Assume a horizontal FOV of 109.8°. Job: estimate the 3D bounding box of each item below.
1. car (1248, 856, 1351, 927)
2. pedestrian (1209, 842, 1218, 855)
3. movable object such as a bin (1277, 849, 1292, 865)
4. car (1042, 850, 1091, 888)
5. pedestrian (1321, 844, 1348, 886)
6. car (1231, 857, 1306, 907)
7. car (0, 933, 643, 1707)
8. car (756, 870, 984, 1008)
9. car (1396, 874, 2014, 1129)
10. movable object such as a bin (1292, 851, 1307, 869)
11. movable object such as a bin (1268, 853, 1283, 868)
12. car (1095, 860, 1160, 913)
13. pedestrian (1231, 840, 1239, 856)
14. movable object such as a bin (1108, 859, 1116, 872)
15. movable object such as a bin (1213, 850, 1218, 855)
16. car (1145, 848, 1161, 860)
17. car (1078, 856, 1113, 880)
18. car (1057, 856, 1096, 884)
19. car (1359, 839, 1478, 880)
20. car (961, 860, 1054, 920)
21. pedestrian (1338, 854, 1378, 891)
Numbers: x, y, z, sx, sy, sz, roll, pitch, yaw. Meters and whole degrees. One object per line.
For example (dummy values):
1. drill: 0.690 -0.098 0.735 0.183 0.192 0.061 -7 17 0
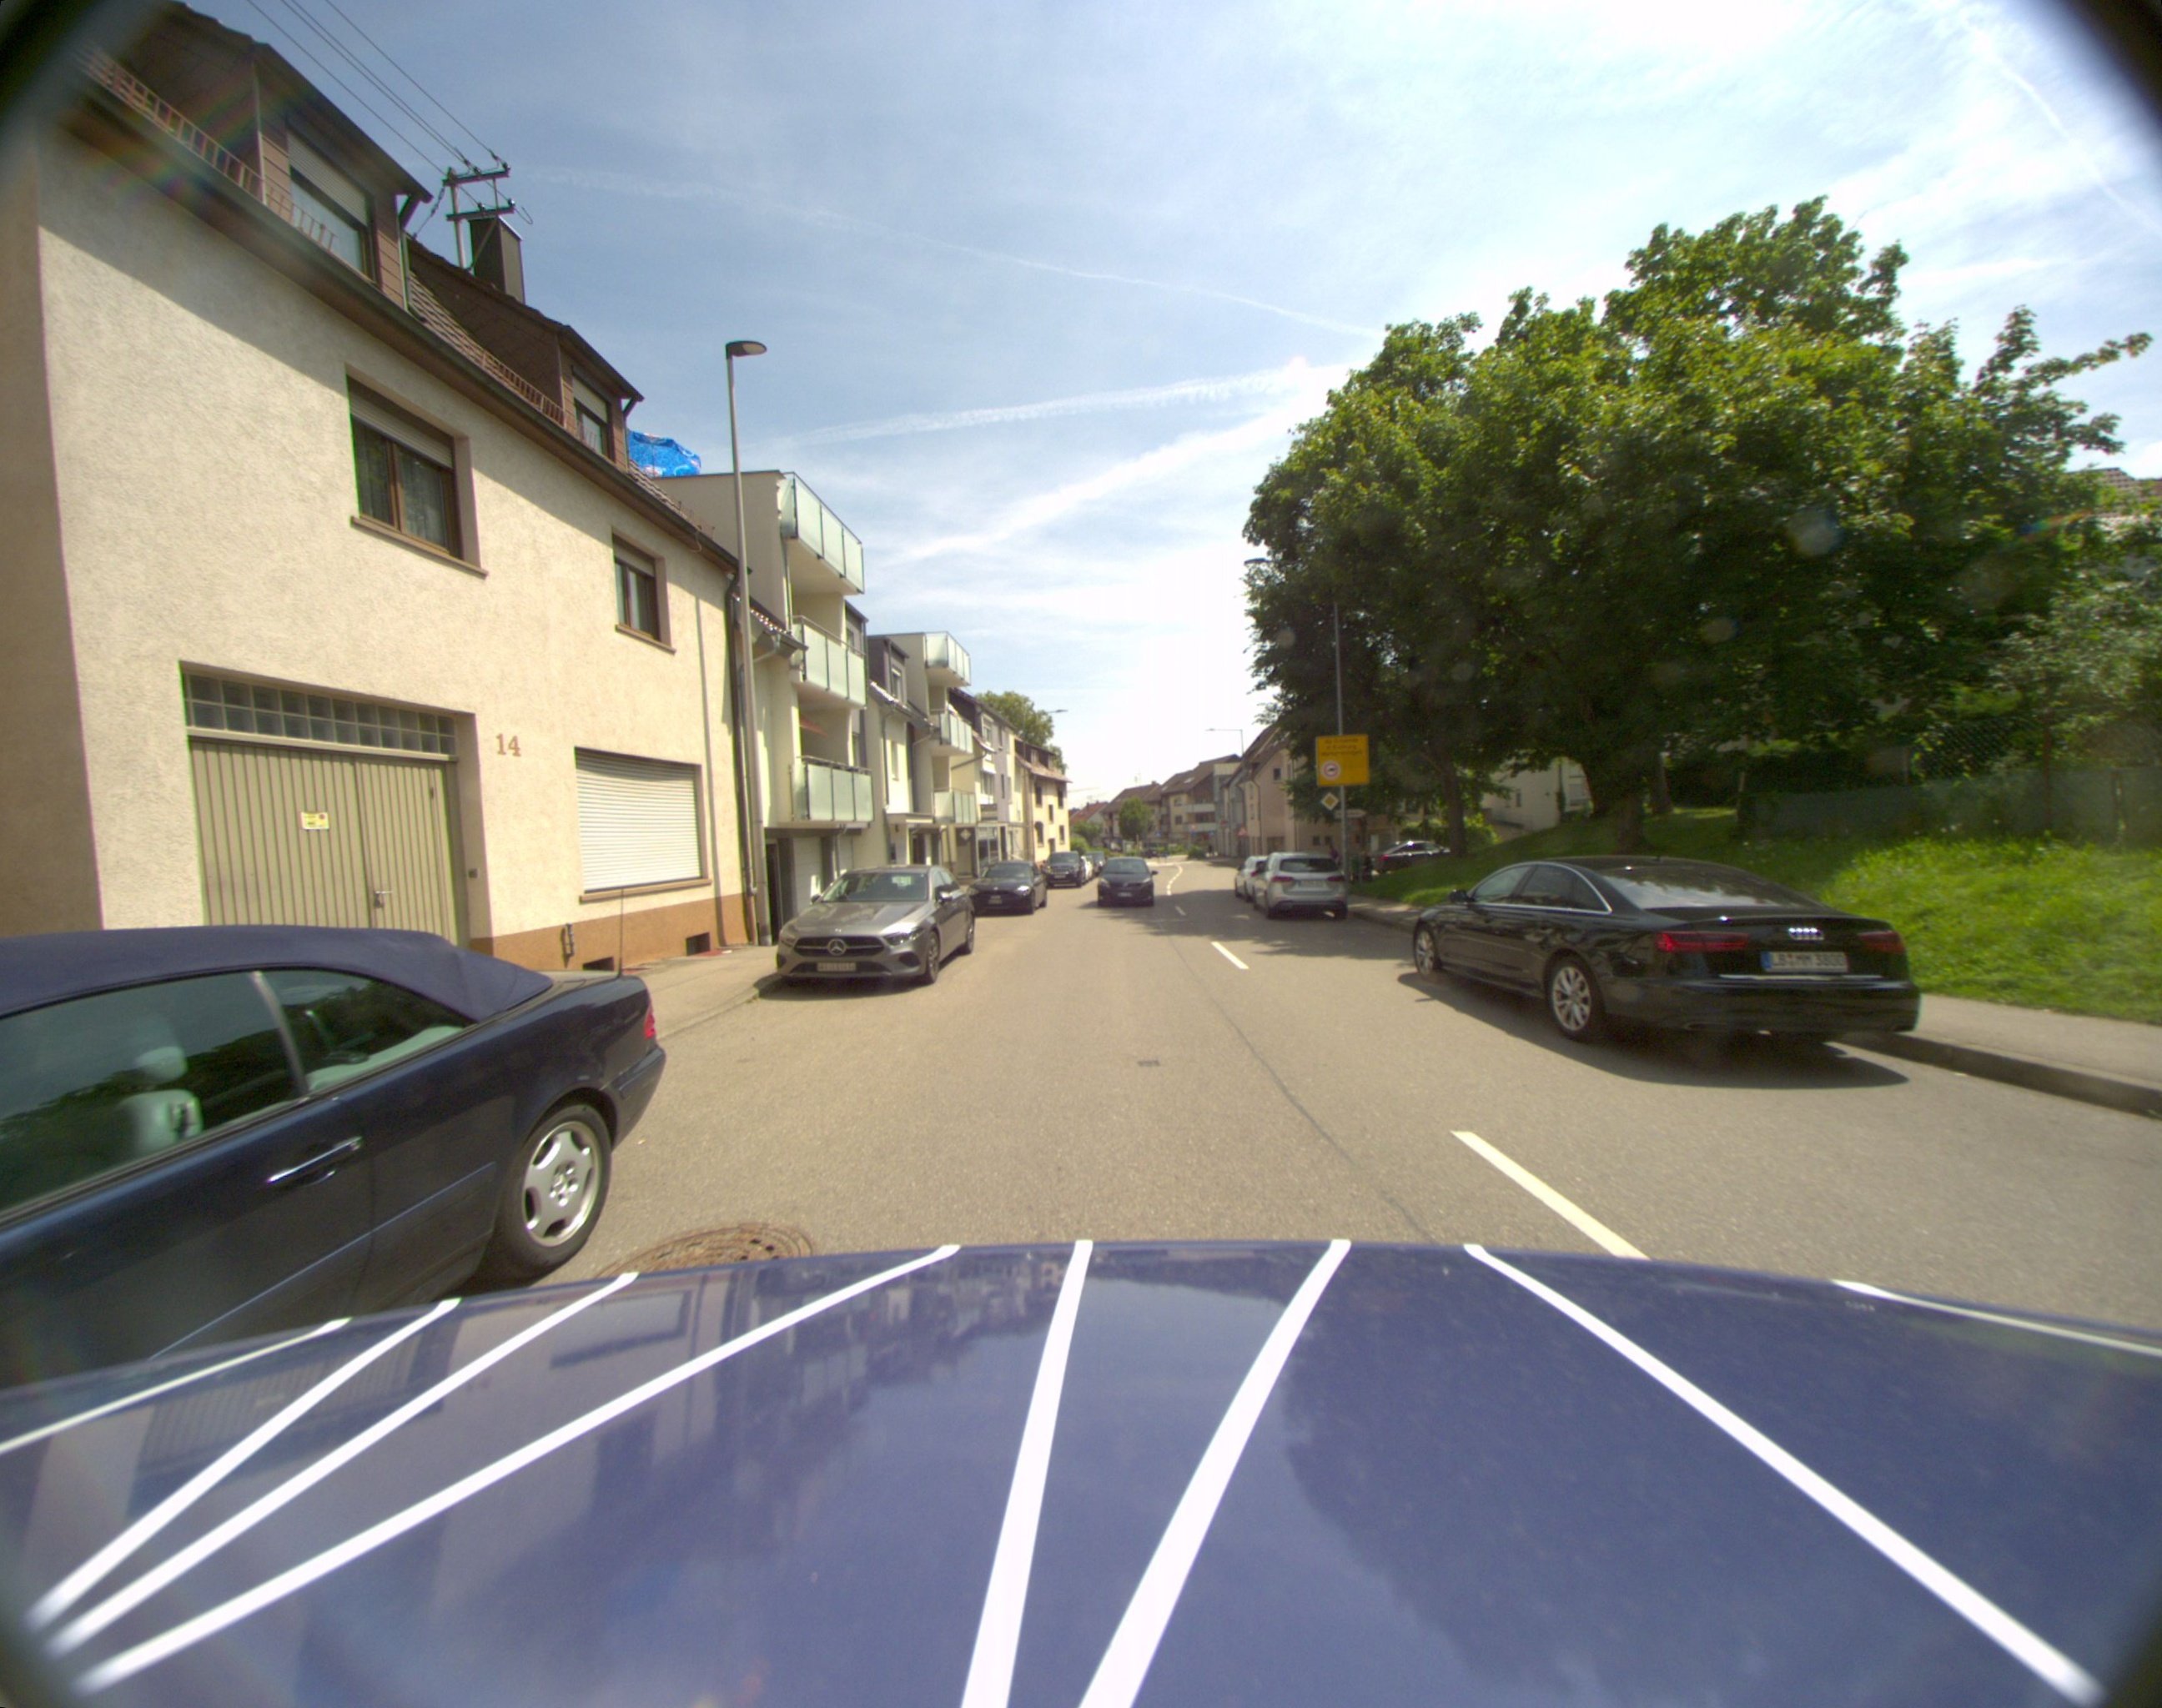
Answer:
1. car: 5.222 0.821 18.666 1.776 1.518 4.224 0 0 7
2. pedestrian: 15.459 -0.605 88.622 0.802 1.469 0.956 -3 1 -4
3. movable object such as a bin: 13.576 0.225 50.722 0.802 0.994 0.805 -4 1 8
4. car: -0.645 0.699 37.318 1.958 1.706 4.718 -2 0 4
5. pedestrian: 9.912 0.430 29.723 0.733 1.607 0.628 -3 1 -14
6. car: 5.989 0.835 24.735 1.758 1.458 4.364 0 0 6
7. car: -2.771 1.056 1.274 1.670 1.345 4.186 -2 0 -1
8. car: -2.579 0.976 10.475 1.798 1.394 4.412 0 0 1
9. car: 4.713 0.944 6.978 1.808 1.415 4.929 -1 0 3
10. movable object such as a bin: 13.814 0.370 47.969 0.773 0.995 0.609 -6 2 9
11. movable object such as a bin: 12.942 0.437 50.593 0.853 0.994 0.694 -2 1 8
12. car: 1.363 0.938 23.877 1.725 1.448 4.429 -1 0 0
13. pedestrian: 15.983 -0.622 78.866 0.576 1.699 0.580 -4 1 8
14. movable object such as a bin: 2.620 0.968 63.823 0.525 0.987 0.502 -3 0 20
15. movable object such as a bin: 15.671 -0.166 88.287 0.459 0.578 0.468 -3 1 -5
16. car: 9.830 -0.008 104.261 1.756 1.575 3.944 -3 1 0
17. car: 0.984 0.896 49.101 1.792 1.412 4.360 -1 0 7
18. car: -0.187 0.857 43.248 1.793 1.447 4.718 -2 0 4
19. car: 15.898 0.238 35.858 4.791 1.471 1.998 -5 1 -12
20. car: -1.939 0.921 21.271 1.801 1.416 4.291 -1 1 5
21. pedestrian: 10.145 0.673 27.850 1.238 1.262 0.647 -3 1 10
